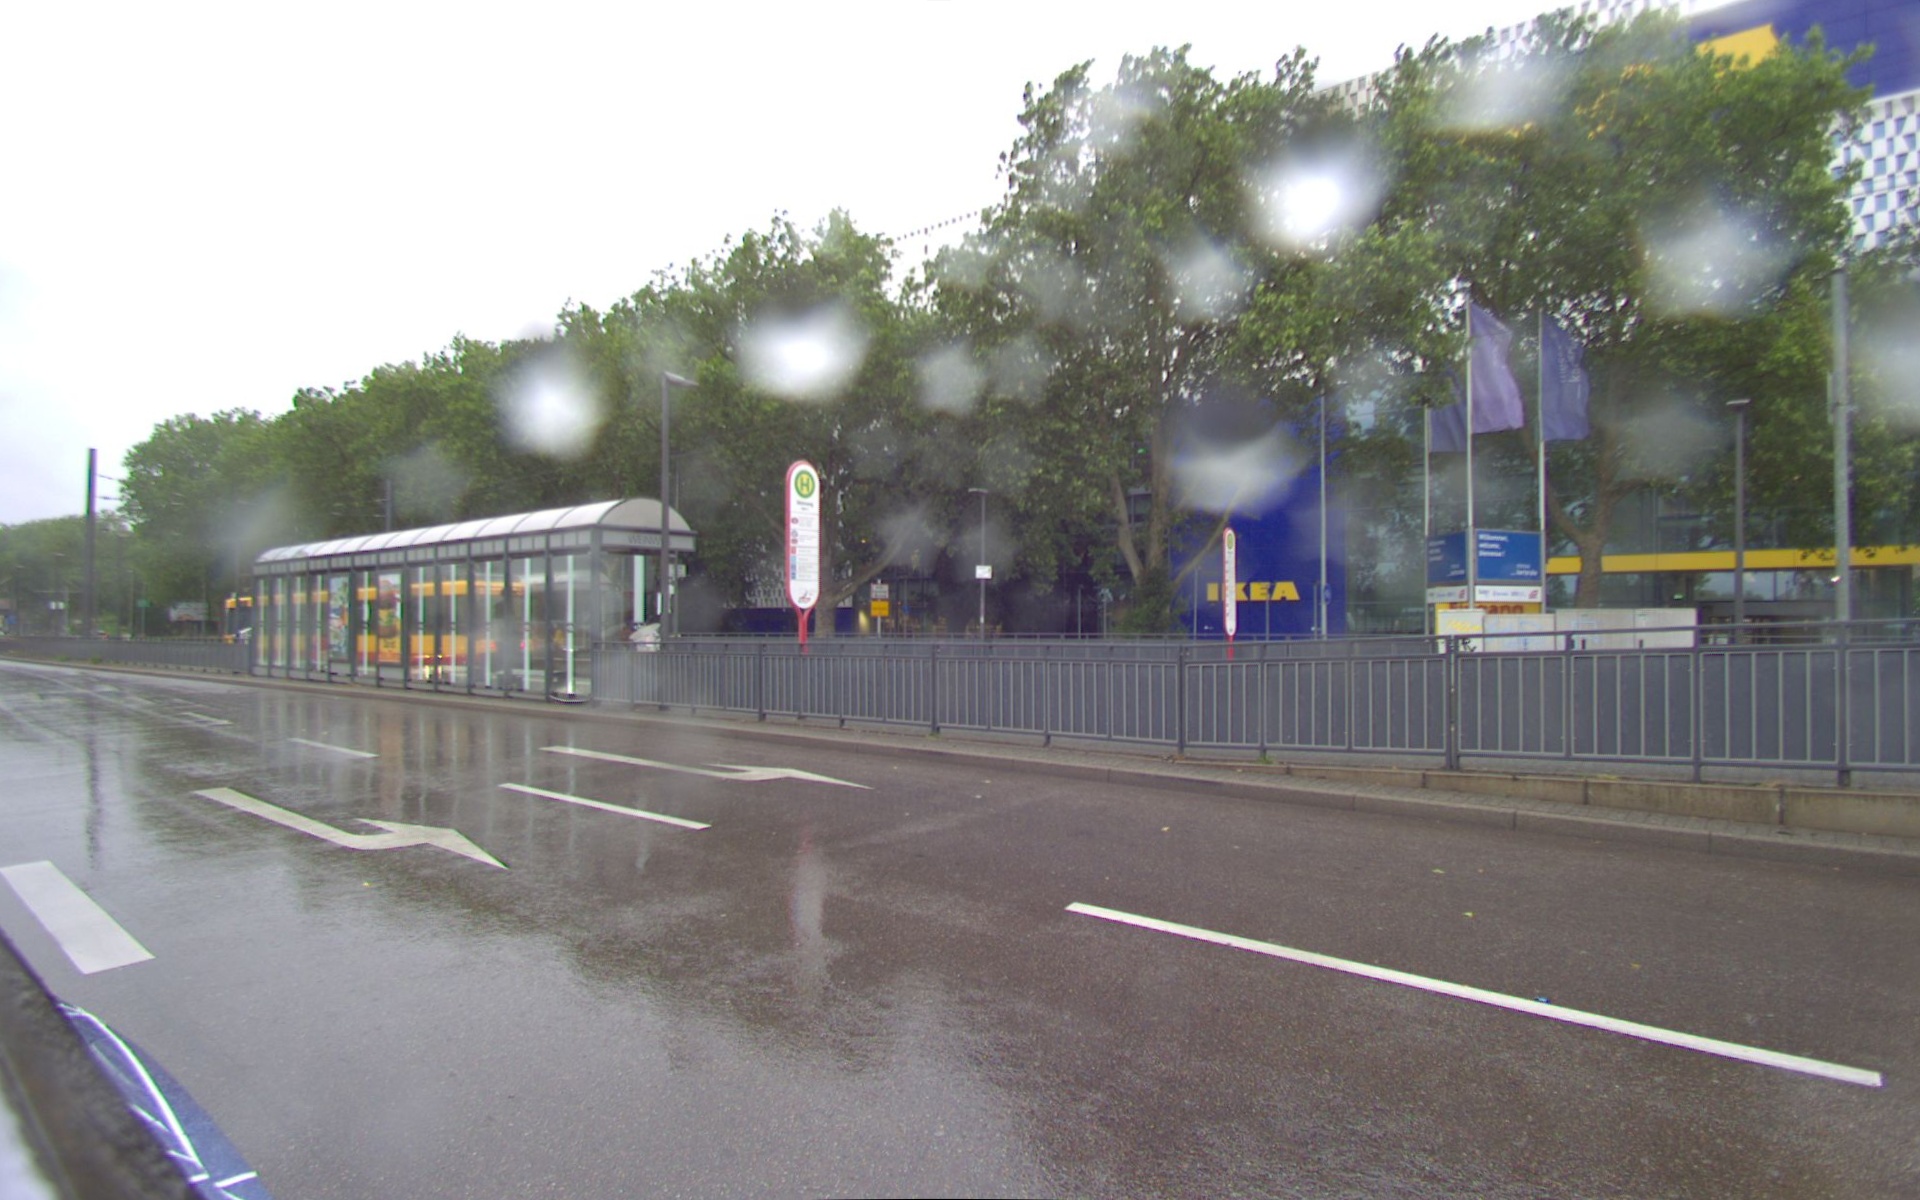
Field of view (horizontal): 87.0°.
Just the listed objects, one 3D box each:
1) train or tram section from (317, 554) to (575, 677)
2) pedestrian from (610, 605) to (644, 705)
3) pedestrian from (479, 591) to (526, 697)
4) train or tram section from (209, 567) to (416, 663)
[{"bbox_3d":[-19.471,0.543,37.622,13.245,3.868,3.703,-1,0,40],"label":"train or tram section"},{"bbox_3d":[-5.142,0.837,15.629,0.317,1.504,0.416,-2,1,-44],"label":"pedestrian"},{"bbox_3d":[-8.381,0.786,18.542,0.646,1.885,0.774,-1,0,-33],"label":"pedestrian"},{"bbox_3d":[-30.442,0.672,46.978,15.560,3.827,3.703,-1,0,40],"label":"train or tram section"}]
